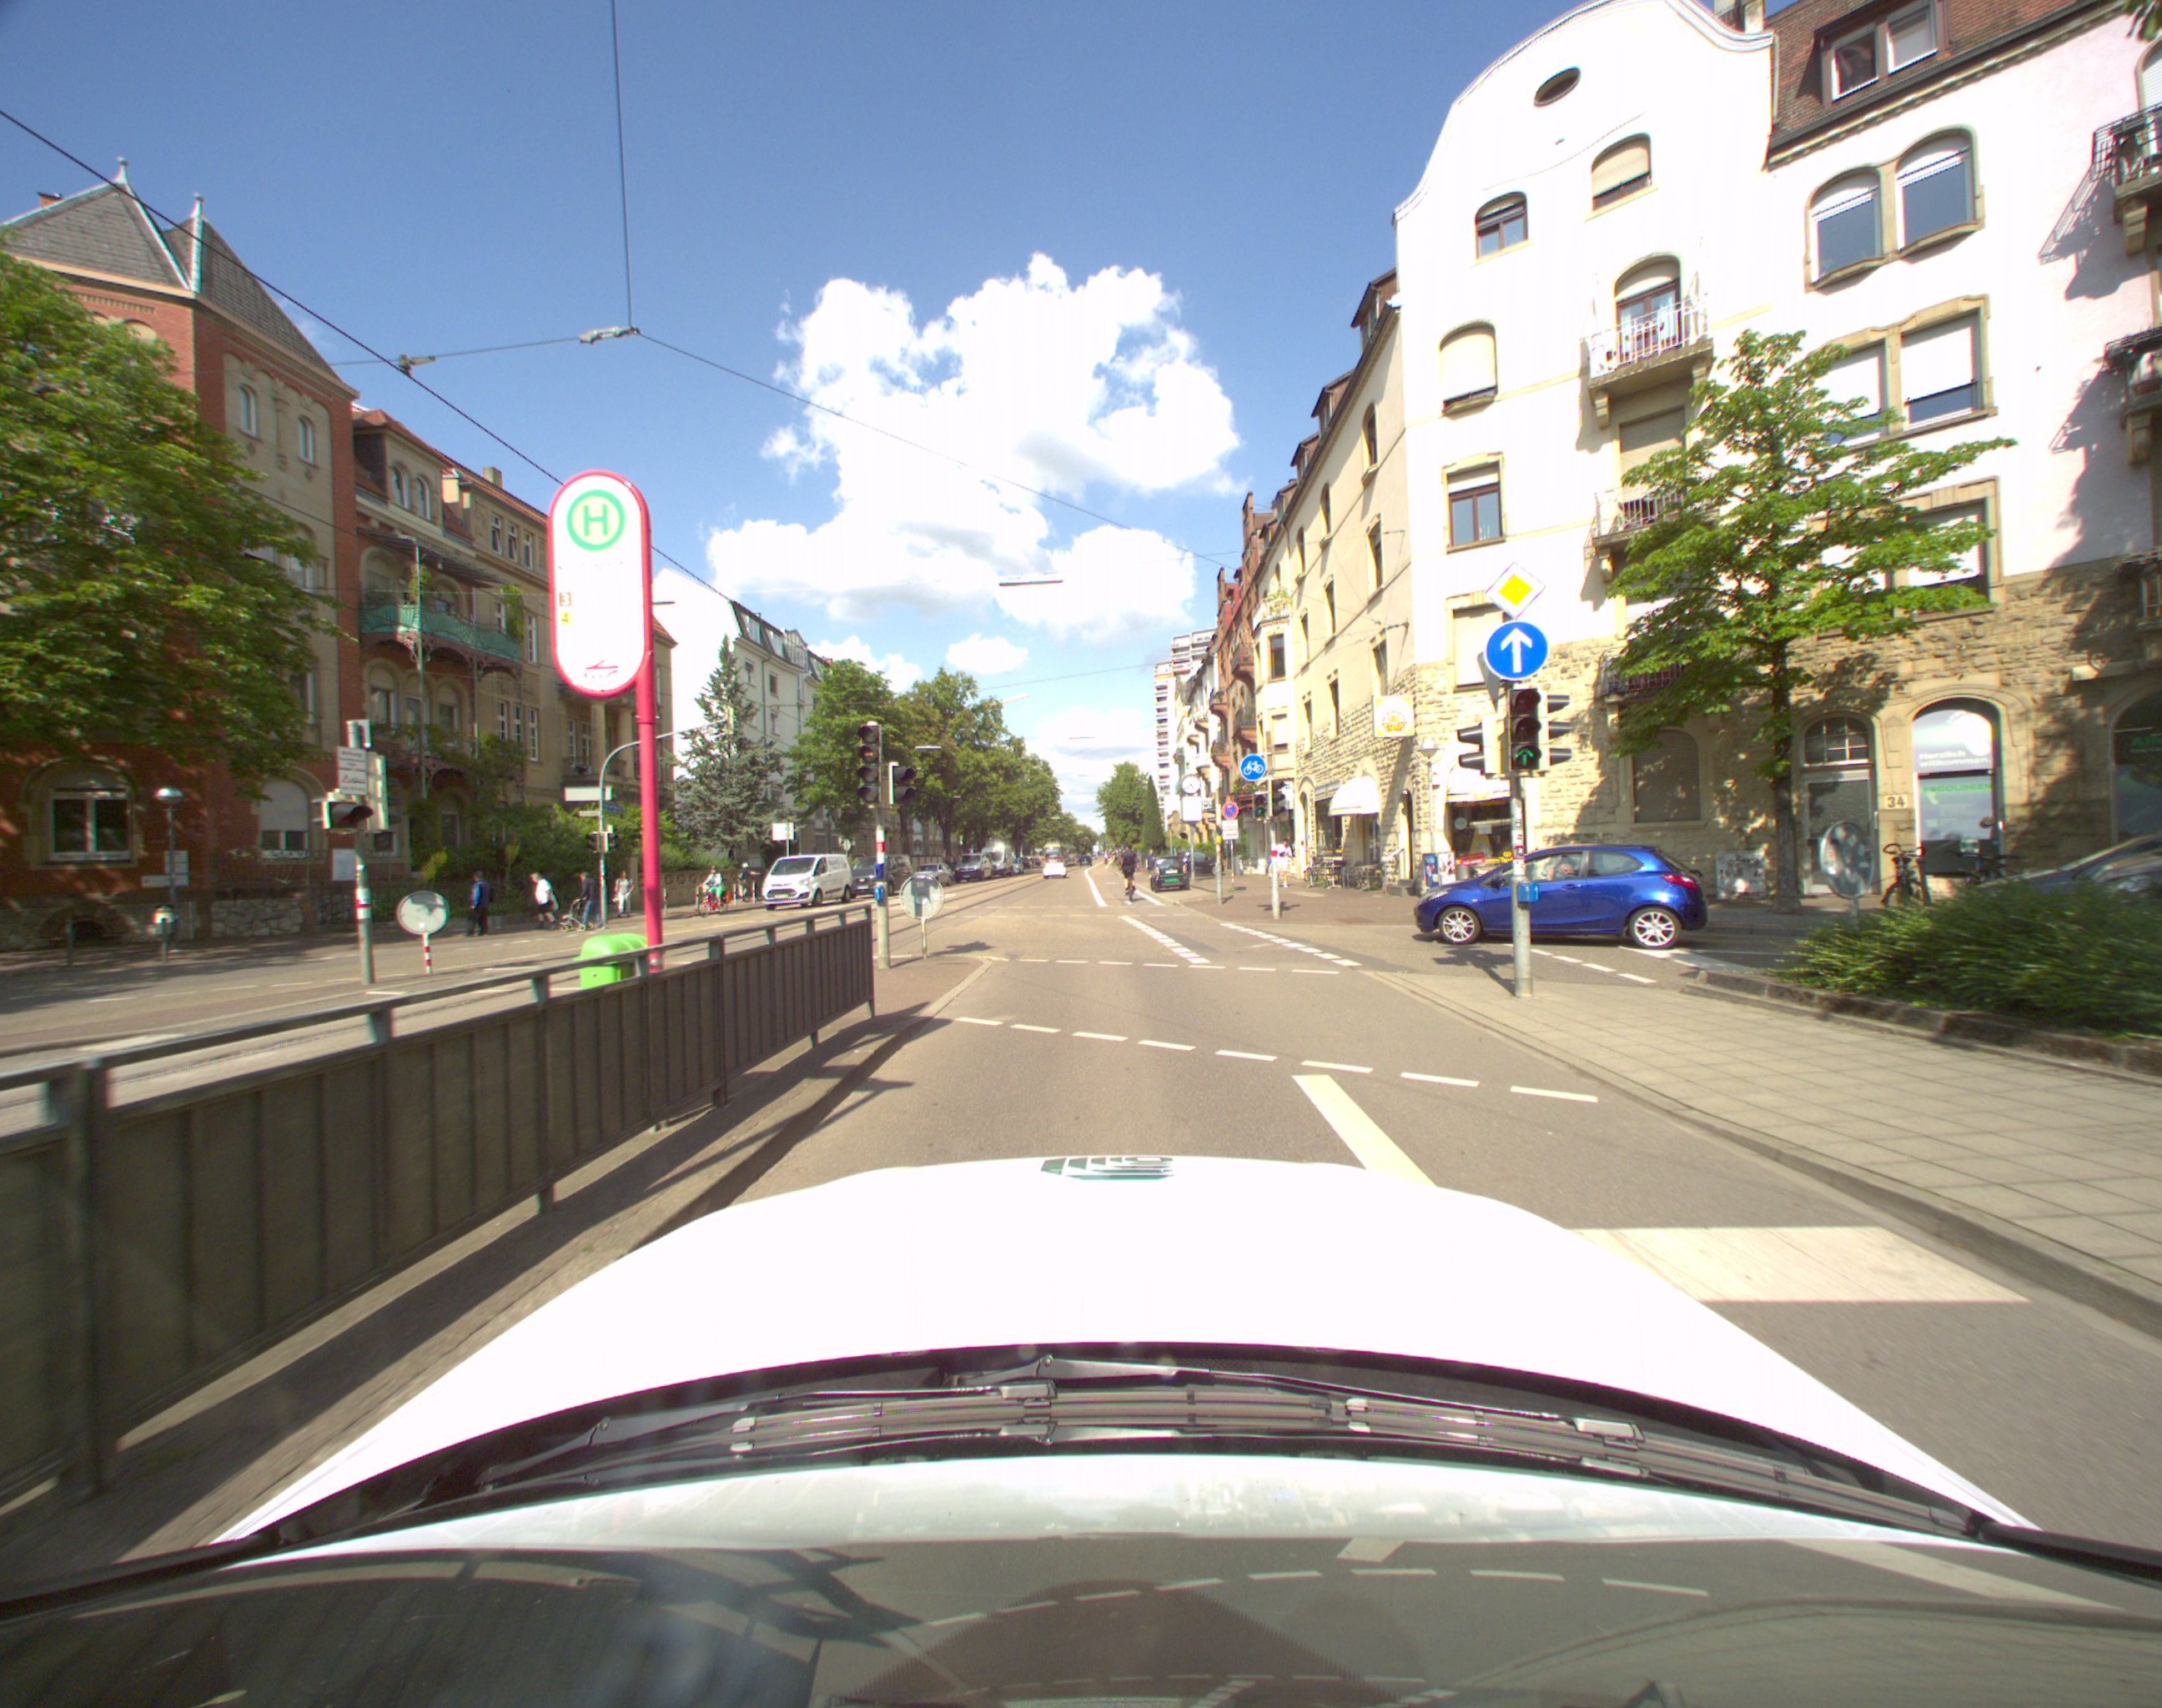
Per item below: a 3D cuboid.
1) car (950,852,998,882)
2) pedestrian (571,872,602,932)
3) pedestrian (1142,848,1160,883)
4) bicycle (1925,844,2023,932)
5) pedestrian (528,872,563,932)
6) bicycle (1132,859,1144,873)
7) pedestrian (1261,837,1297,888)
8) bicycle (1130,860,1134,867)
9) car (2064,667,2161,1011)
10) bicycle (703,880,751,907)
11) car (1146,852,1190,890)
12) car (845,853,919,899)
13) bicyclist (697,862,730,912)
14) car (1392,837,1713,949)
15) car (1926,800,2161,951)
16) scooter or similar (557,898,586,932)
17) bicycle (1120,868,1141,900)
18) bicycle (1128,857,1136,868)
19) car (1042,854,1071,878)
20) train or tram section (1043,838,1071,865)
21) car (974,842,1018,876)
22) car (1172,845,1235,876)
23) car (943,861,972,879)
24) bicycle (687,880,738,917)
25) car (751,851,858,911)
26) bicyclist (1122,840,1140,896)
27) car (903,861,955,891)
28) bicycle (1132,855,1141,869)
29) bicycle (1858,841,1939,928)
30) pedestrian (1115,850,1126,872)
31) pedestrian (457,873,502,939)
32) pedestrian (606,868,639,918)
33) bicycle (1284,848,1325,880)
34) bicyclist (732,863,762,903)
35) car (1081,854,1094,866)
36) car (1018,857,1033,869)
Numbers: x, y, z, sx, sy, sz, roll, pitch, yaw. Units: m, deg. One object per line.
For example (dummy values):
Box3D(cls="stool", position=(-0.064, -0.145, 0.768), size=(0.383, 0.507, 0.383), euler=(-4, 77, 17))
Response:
Box3D(cls="car", position=(-7.336, 0.935, 56.515), size=(1.976, 1.963, 5.189), euler=(-2, -2, 7))
Box3D(cls="pedestrian", position=(-13.930, 1.343, 22.955), size=(0.520, 1.657, 0.749), euler=(0, -1, -11))
Box3D(cls="pedestrian", position=(3.765, 0.616, 43.879), size=(0.658, 1.841, 0.871), euler=(-6, 0, -6))
Box3D(cls="bicycle", position=(13.015, 0.457, 11.923), size=(0.580, 1.140, 1.985), euler=(-1, 1, 36))
Box3D(cls="pedestrian", position=(-15.303, 1.353, 23.275), size=(0.611, 1.657, 0.723), euler=(0, 0, -12))
Box3D(cls="bicycle", position=(4.496, 0.917, 63.991), size=(0.597, 0.961, 3.065), euler=(-6, 0, 0))
Box3D(cls="pedestrian", position=(7.092, 0.294, 29.247), size=(1.006, 1.768, 0.850), euler=(-4, 0, 3))
Box3D(cls="bicycle", position=(5.588, 1.034, 89.484), size=(0.278, 0.677, 1.560), euler=(-5, -1, 3))
Box3D(cls="car", position=(11.422, -0.214, 5.095), size=(2.404, 2.793, 6.599), euler=(-4, 2, -37))
Box3D(cls="bicycle", position=(-14.019, 1.535, 32.311), size=(0.995, 0.933, 1.861), euler=(2, 0, 1))
Box3D(cls="car", position=(3.791, 0.734, 35.809), size=(1.509, 1.498, 2.794), euler=(-5, 0, 0))
Box3D(cls="car", position=(-9.317, 1.010, 38.635), size=(1.919, 1.917, 5.127), euler=(-3, -1, 3))
Box3D(cls="bicyclist", position=(-12.690, 1.138, 28.129), size=(0.835, 1.696, 0.672), euler=(0, -1, 0))
Box3D(cls="car", position=(7.074, 0.549, 12.388), size=(3.948, 1.419, 1.904), euler=(-2, 0, 37))
Box3D(cls="car", position=(12.022, 0.229, 8.668), size=(1.737, 1.554, 4.065), euler=(1, -2, -40))
Box3D(cls="scooter or similar", position=(-14.288, 1.714, 22.853), size=(0.548, 0.922, 0.498), euler=(0, -1, -12))
Box3D(cls="bicycle", position=(1.734, 1.066, 28.814), size=(0.613, 1.045, 1.837), euler=(-5, -2, 2))
Box3D(cls="bicycle", position=(5.002, 0.839, 80.180), size=(0.608, 0.996, 2.363), euler=(-5, -1, 2))
Box3D(cls="car", position=(-1.723, 0.810, 57.373), size=(1.658, 1.625, 3.624), euler=(0, -1, 4))
Box3D(cls="train or tram section", position=(-3.255, -0.241, 112.679), size=(2.642, 3.436, 12.323), euler=(-4, -1, 3))
Box3D(cls="car", position=(-6.574, 0.342, 63.712), size=(2.306, 2.507, 6.369), euler=(-2, 0, 3))
Box3D(cls="car", position=(6.987, 0.356, 46.662), size=(3.386, 1.523, 1.974), euler=(-4, -1, 4))
Box3D(cls="car", position=(-10.771, 1.378, 71.167), size=(1.619, 1.472, 4.208), euler=(0, 1, 3))
Box3D(cls="bicycle", position=(-12.720, 1.524, 28.187), size=(0.842, 1.160, 1.955), euler=(1, 1, 1))
Box3D(cls="car", position=(-10.345, 0.971, 30.962), size=(1.985, 1.995, 5.093), euler=(-2, -1, 3))
Box3D(cls="bicyclist", position=(1.748, 0.502, 28.823), size=(0.604, 1.948, 1.131), euler=(0, -1, 2))
Box3D(cls="car", position=(-8.641, 1.197, 46.548), size=(1.684, 1.480, 4.488), euler=(-3, 0, 5))
Box3D(cls="bicycle", position=(5.182, 0.738, 76.702), size=(0.737, 1.231, 2.517), euler=(-2, -1, 2))
Box3D(cls="bicycle", position=(12.657, 0.431, 12.657), size=(0.580, 1.209, 1.985), euler=(-1, 1, 36))
Box3D(cls="pedestrian", position=(3.383, 0.620, 70.026), size=(0.786, 1.861, 0.579), euler=(-2, -1, -5))
Box3D(cls="pedestrian", position=(-16.000, 1.368, 21.685), size=(0.622, 1.698, 0.846), euler=(0, -1, -10))
Box3D(cls="pedestrian", position=(-15.469, 1.311, 27.476), size=(0.515, 1.657, 0.821), euler=(-1, -1, 22))
Box3D(cls="bicycle", position=(8.553, 0.377, 31.262), size=(0.802, 1.177, 2.751), euler=(0, -1, 0))
Box3D(cls="bicyclist", position=(-14.021, 1.214, 34.185), size=(0.947, 1.644, 0.702), euler=(0, -1, 1))
Box3D(cls="car", position=(0.963, 0.787, 117.190), size=(1.659, 1.624, 3.623), euler=(-2, 0, 2))
Box3D(cls="car", position=(-8.321, 1.364, 122.011), size=(1.744, 1.665, 4.722), euler=(0, -1, 2))
